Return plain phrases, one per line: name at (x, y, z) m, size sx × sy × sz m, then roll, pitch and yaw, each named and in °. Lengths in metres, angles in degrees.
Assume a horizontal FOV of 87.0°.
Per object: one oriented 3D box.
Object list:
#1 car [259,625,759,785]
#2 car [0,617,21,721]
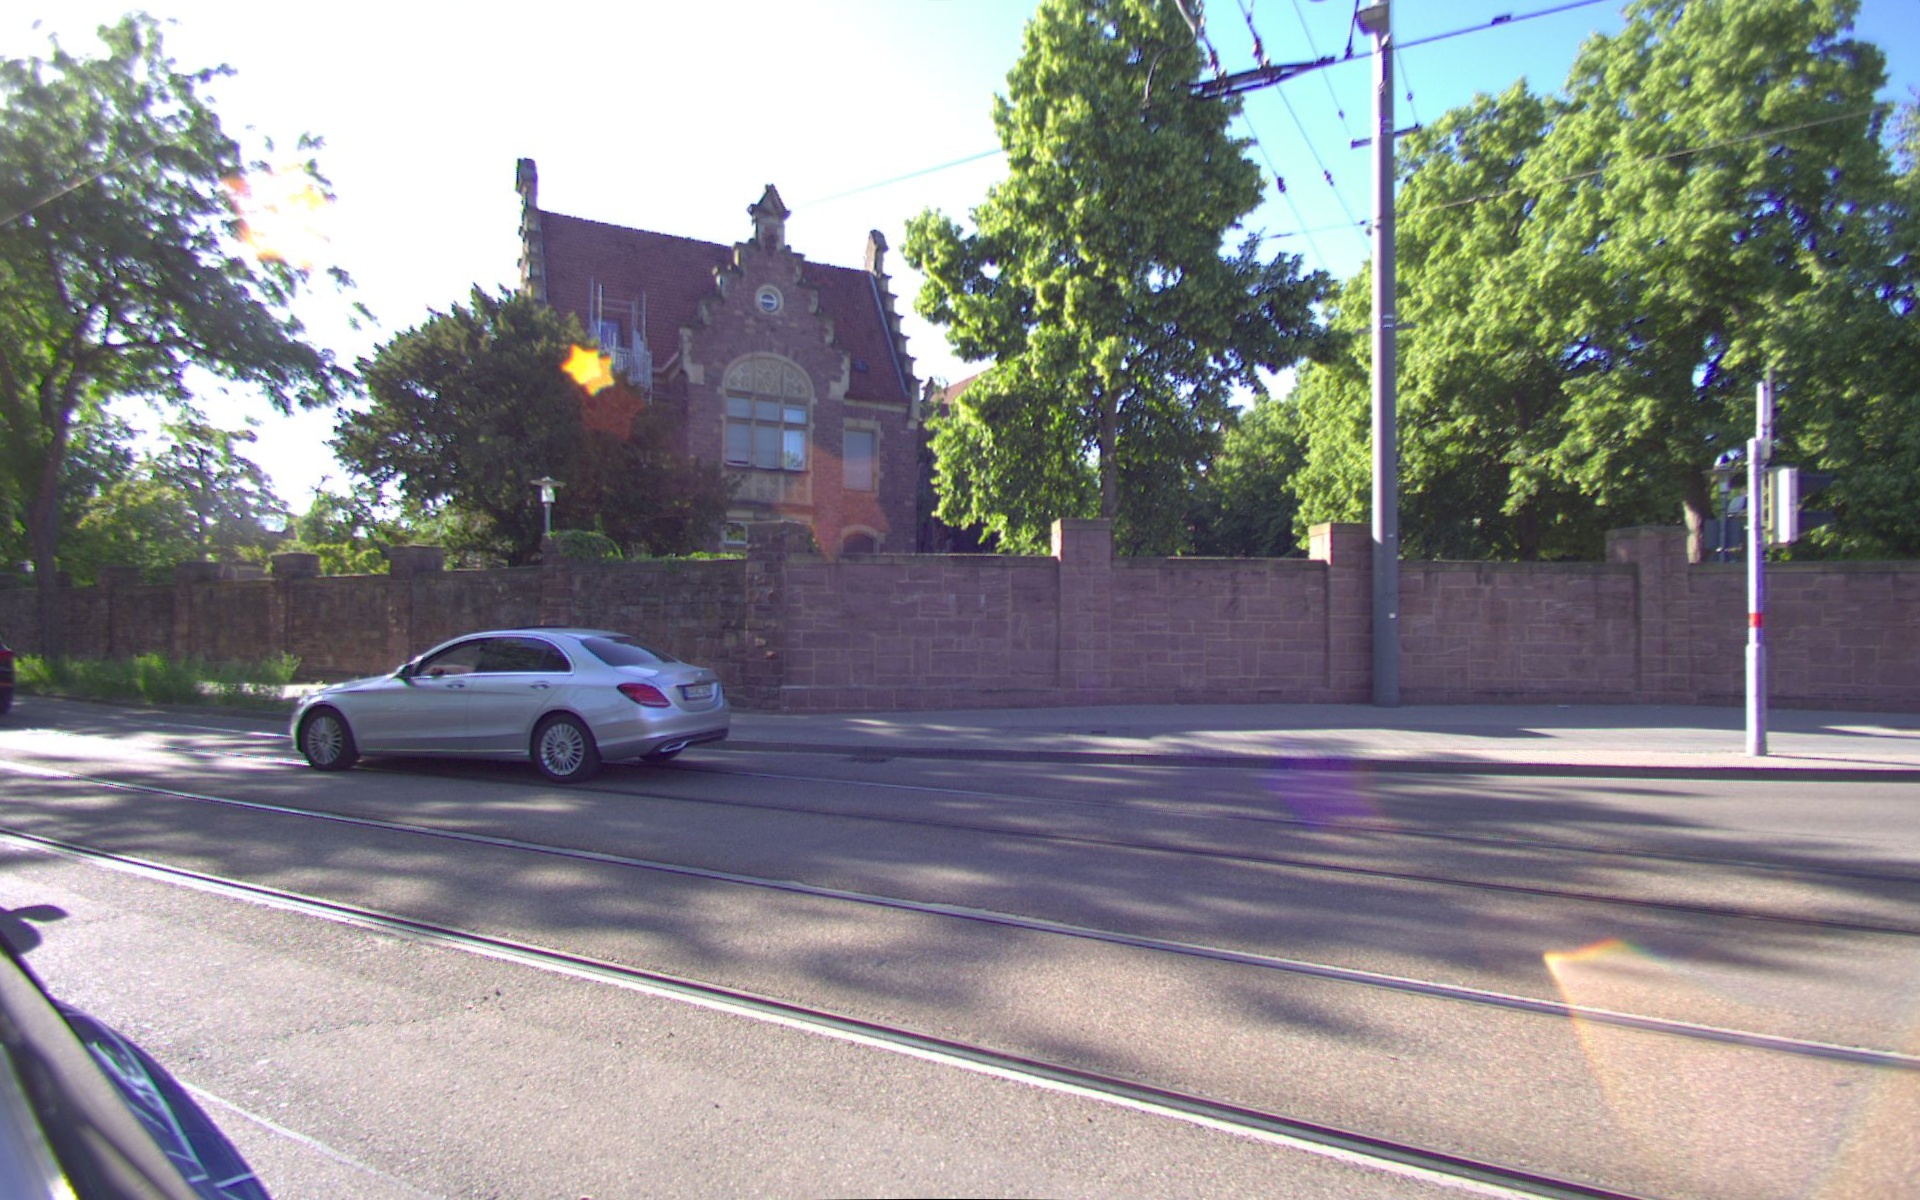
car at (-4.597, 1.005, 10.508) m, size 4.580 × 1.426 × 1.880 m, roll -1°, pitch -3°, yaw 15°
car at (-17.288, 1.092, 16.467) m, size 4.102 × 1.650 × 1.783 m, roll -1°, pitch -3°, yaw 30°
